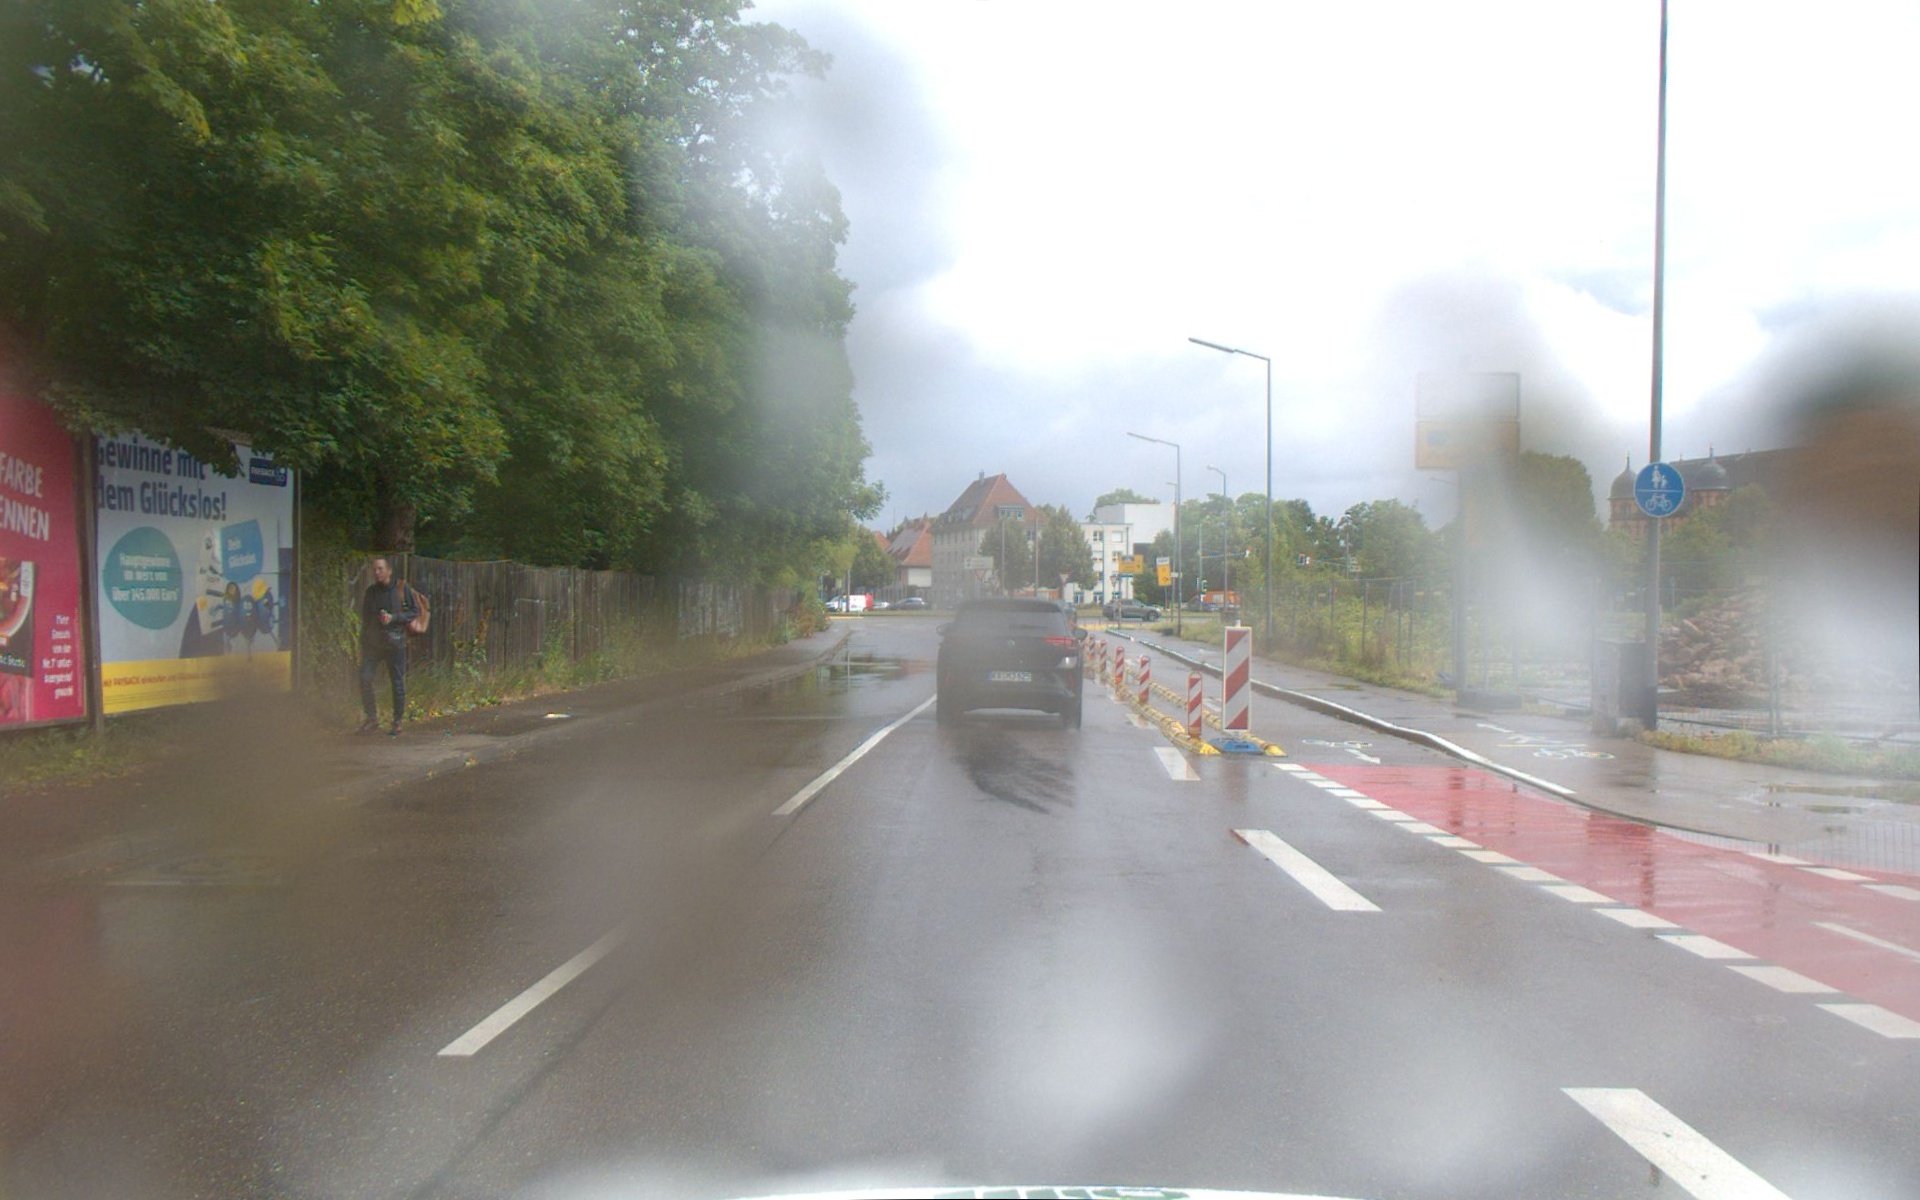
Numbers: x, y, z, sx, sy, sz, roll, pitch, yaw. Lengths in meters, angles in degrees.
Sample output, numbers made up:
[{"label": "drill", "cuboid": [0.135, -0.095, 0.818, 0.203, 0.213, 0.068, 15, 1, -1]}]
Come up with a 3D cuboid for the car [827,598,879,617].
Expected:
[{"label": "car", "cuboid": [-10.621, 0.709, 164.306, 5.081, 1.909, 1.868, 0, 0, -39]}]

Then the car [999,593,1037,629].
[{"label": "car", "cuboid": [3.087, 0.573, 89.121, 1.826, 1.841, 4.403, 1, 0, -1]}]

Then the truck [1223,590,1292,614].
[{"label": "truck", "cuboid": [30.429, 0.215, 169.157, 6.596, 2.485, 2.422, 0, 0, 39]}]

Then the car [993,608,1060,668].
[{"label": "car", "cuboid": [1.791, 1.017, 45.343, 1.699, 1.540, 3.604, 1, 0, 0]}]

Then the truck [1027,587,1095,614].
[{"label": "truck", "cuboid": [10.446, 0.012, 170.863, 6.918, 2.696, 2.331, 1, 0, 4]}]

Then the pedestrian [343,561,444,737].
[{"label": "pedestrian", "cuboid": [-5.933, 0.508, 17.347, 0.821, 1.800, 0.644, 0, 0, 2]}]

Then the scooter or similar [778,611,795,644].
[{"label": "scooter or similar", "cuboid": [-6.177, 0.978, 58.921, 0.551, 1.183, 1.207, 0, 0, -5]}]

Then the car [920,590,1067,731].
[{"label": "car", "cuboid": [0.368, 0.717, 21.017, 1.674, 1.601, 3.682, 1, 0, -1]}]
